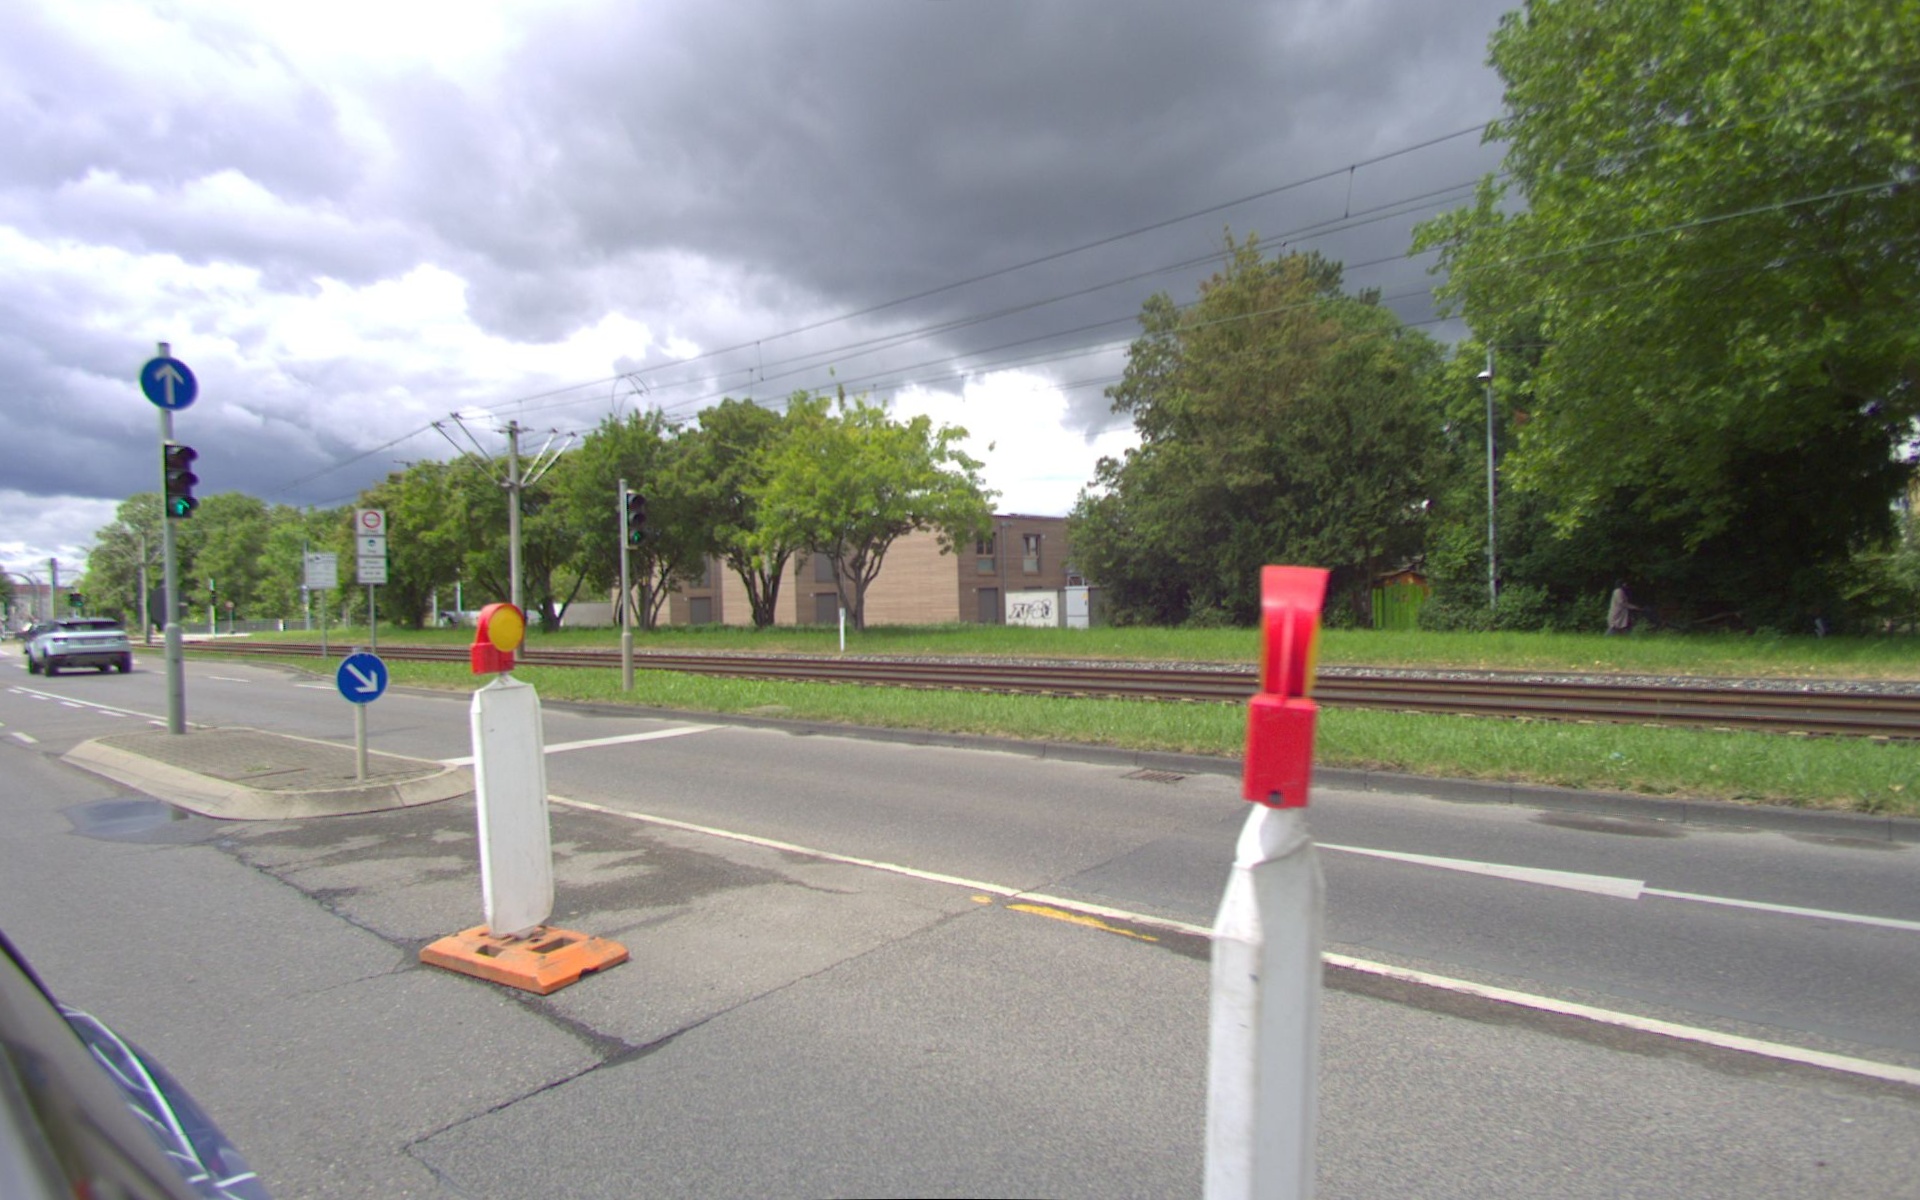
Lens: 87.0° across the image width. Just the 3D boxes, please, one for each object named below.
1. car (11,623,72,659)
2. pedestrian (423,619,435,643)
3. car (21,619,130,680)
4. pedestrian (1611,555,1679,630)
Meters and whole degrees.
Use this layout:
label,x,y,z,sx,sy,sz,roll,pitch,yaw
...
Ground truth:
label,x,y,z,sx,sy,sz,roll,pitch,yaw
car,-48.202,2.100,53.075,4.522,1.672,1.972,-1,1,43
pedestrian,-39.740,2.326,75.783,0.484,1.736,0.801,-1,1,-7
car,-25.732,1.362,29.404,4.606,1.622,1.840,-1,-1,42
pedestrian,18.325,-0.186,27.065,1.362,1.948,1.024,-1,0,41
